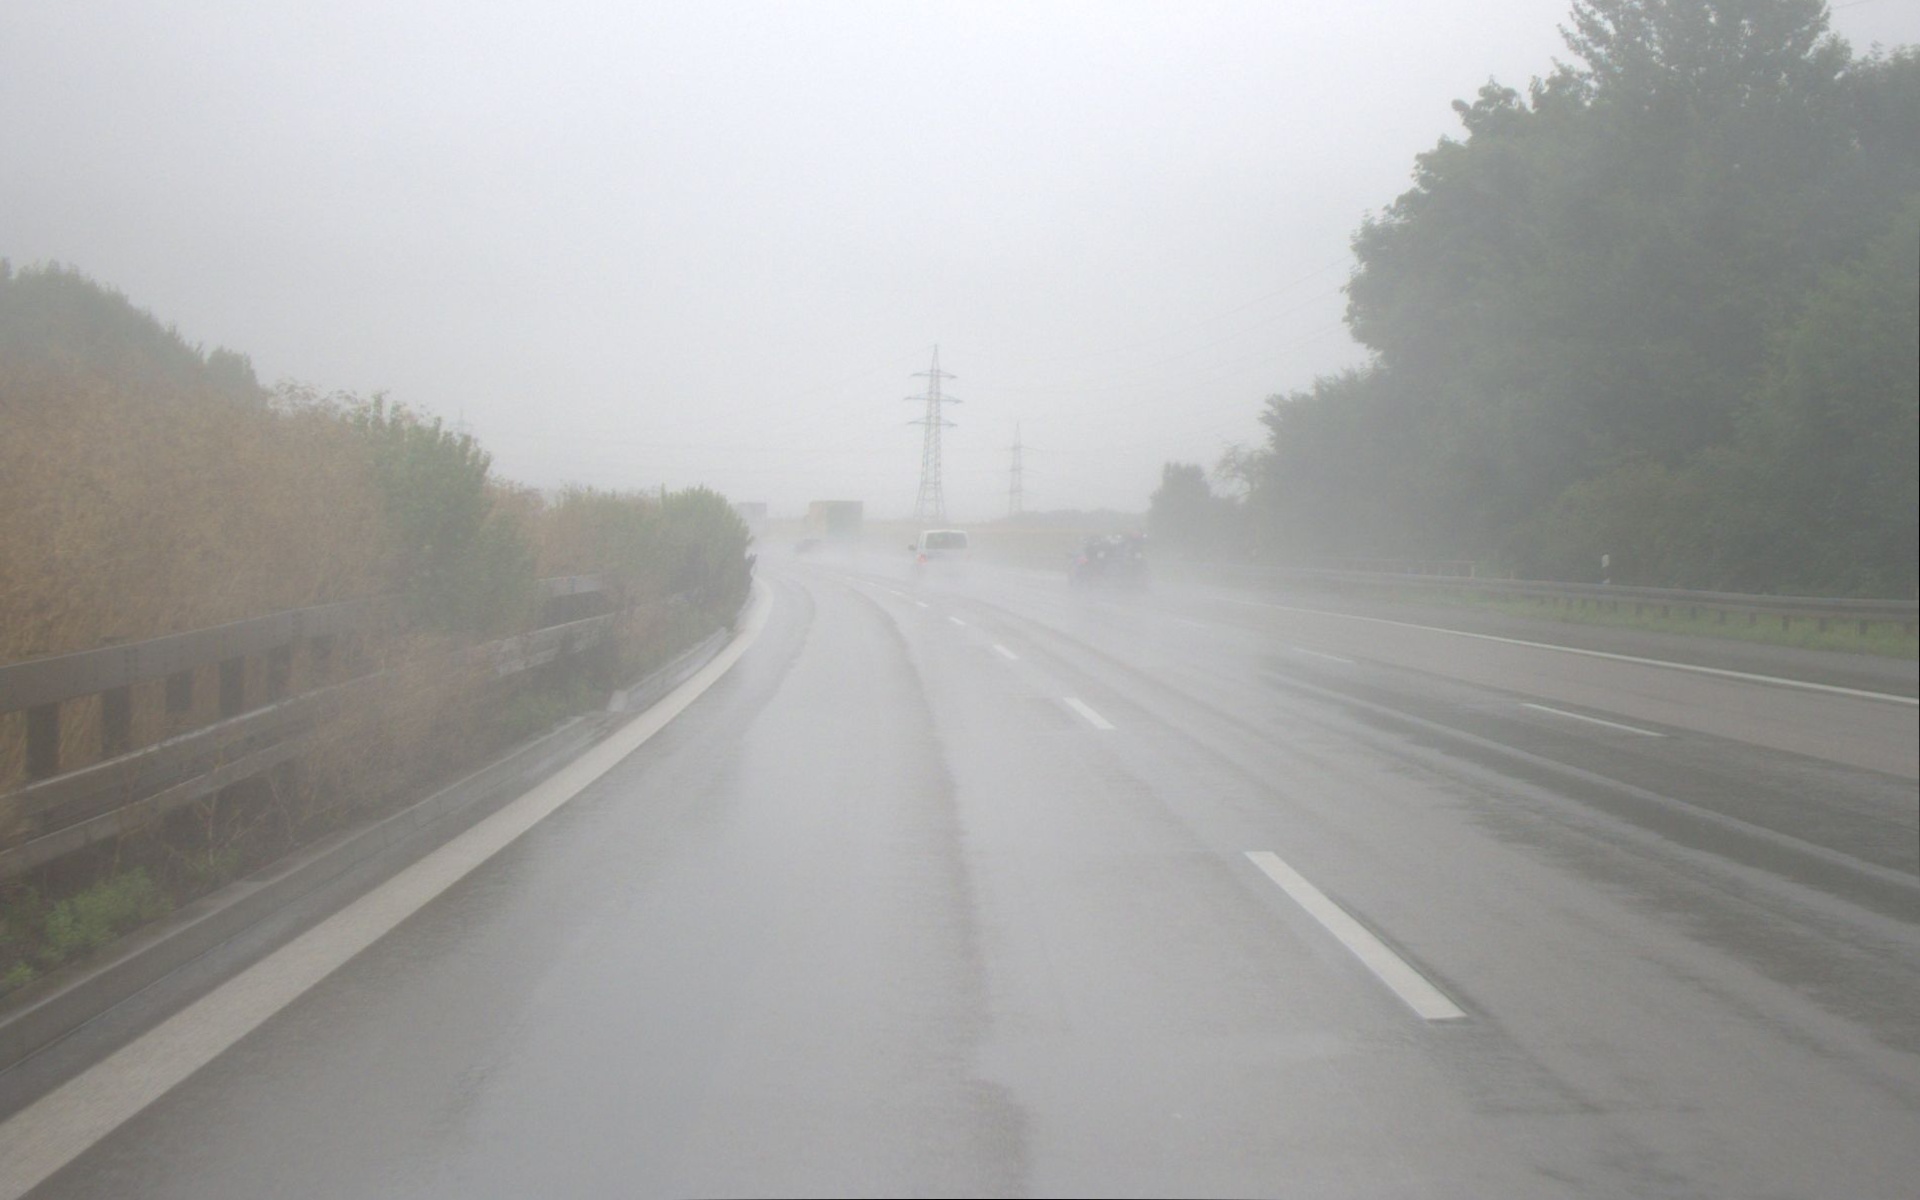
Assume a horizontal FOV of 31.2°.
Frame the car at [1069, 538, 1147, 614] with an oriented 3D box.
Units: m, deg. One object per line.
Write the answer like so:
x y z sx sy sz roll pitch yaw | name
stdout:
4.340 -0.714 101.163 1.807 2.151 4.001 1 1 -4 | car

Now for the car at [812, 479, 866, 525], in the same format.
-8.692 -7.006 246.171 3.199 3.182 7.258 1 1 -7 | car
